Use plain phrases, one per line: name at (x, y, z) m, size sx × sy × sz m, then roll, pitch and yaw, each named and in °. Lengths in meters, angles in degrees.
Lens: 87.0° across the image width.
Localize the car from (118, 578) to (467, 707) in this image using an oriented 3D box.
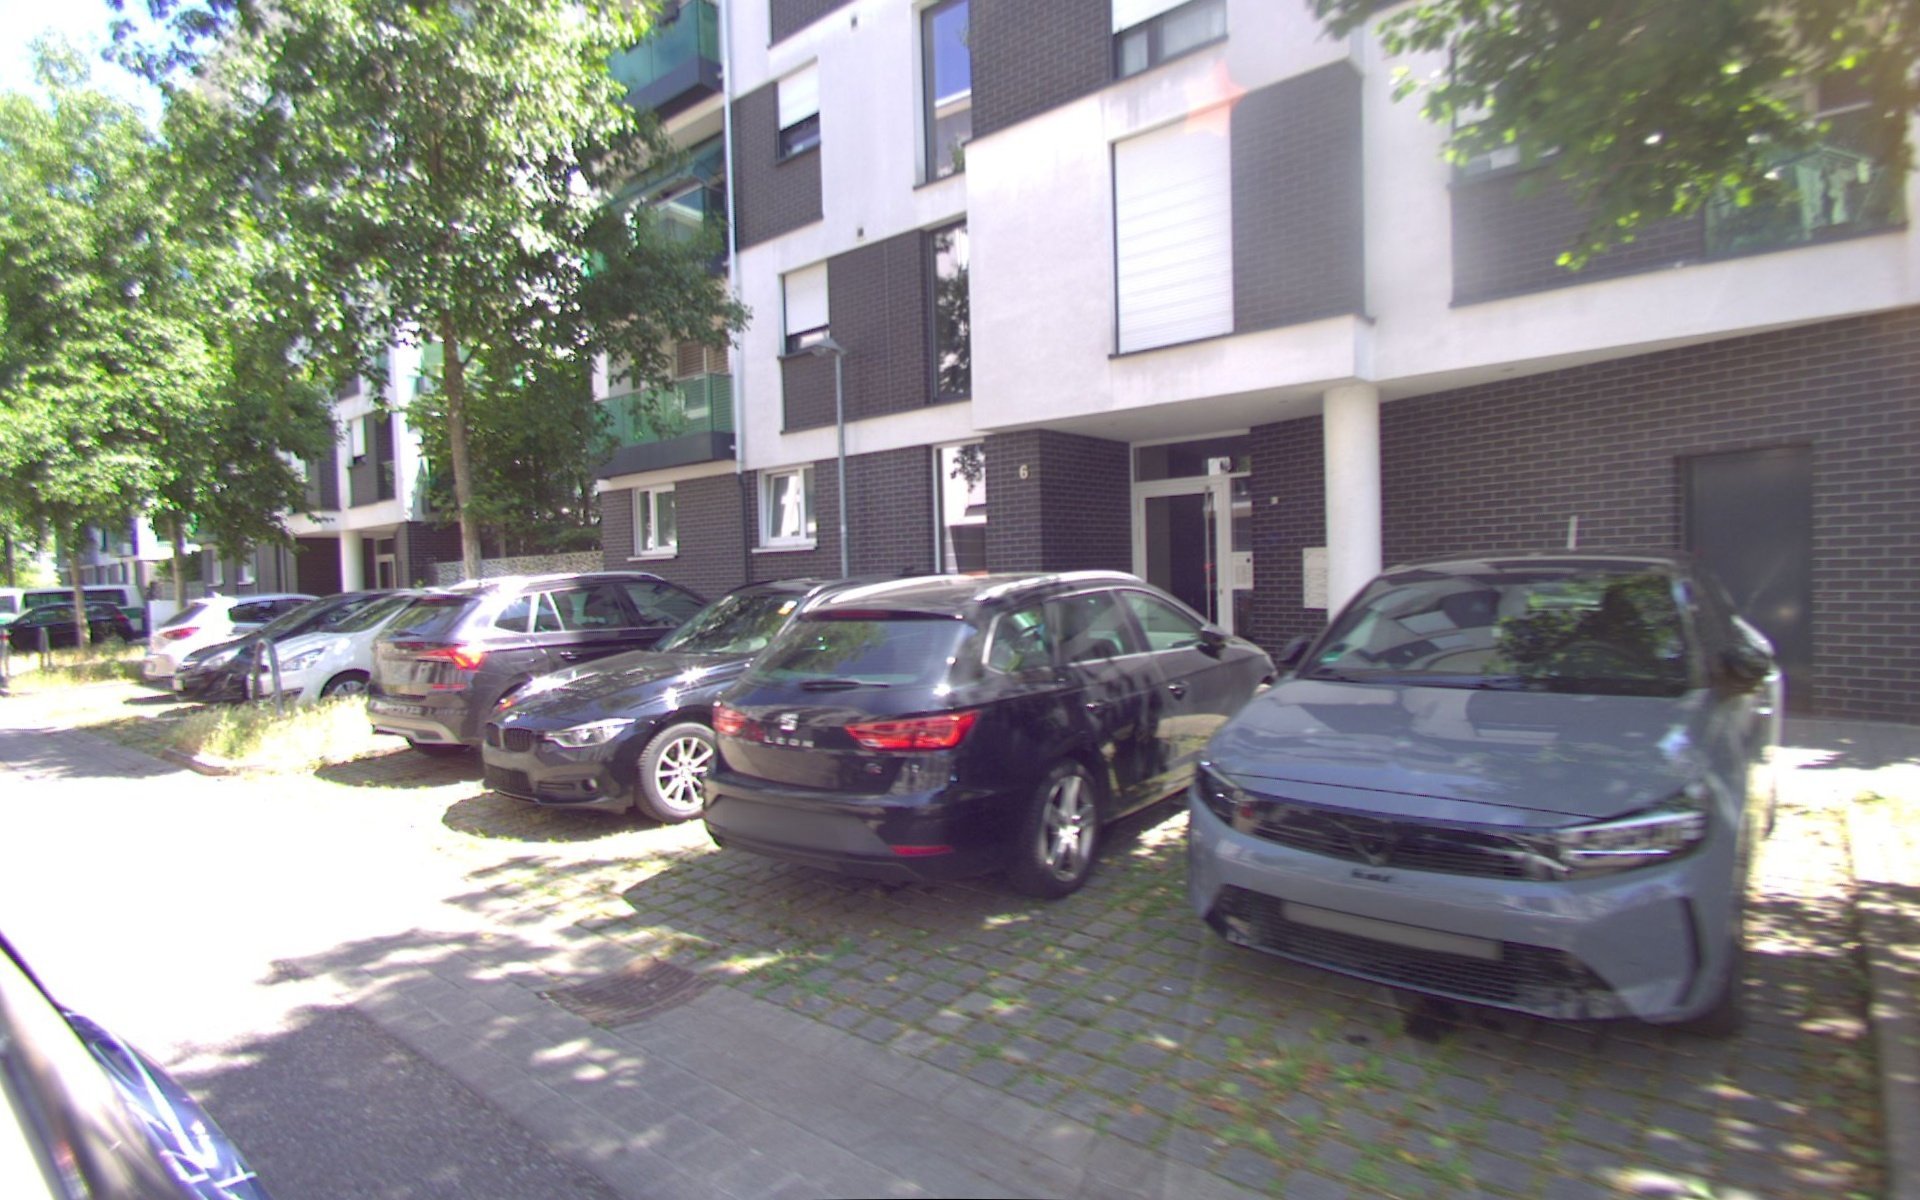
car at (-10.485, 0.560, 16.165) m, size 1.923 × 1.528 × 4.211 m, roll -1°, pitch 4°, yaw 40°

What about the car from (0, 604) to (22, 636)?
car at (-46.501, 1.094, 46.416) m, size 1.825 × 1.459 × 4.774 m, roll 0°, pitch 4°, yaw 38°

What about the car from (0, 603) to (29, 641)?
car at (-42.645, 1.073, 43.028) m, size 1.819 × 1.542 × 4.213 m, roll -1°, pitch 3°, yaw 37°

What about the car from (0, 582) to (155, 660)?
car at (-27.450, 0.617, 29.997) m, size 2.187 × 2.126 × 5.286 m, roll -1°, pitch 1°, yaw 42°

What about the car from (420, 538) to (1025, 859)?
car at (-1.508, 0.450, 7.519) m, size 1.918 × 1.663 × 3.946 m, roll -1°, pitch 3°, yaw 42°

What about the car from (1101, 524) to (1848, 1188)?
car at (2.512, 0.471, 4.346) m, size 1.896 × 1.432 × 3.947 m, roll -1°, pitch 3°, yaw 41°

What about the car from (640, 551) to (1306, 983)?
car at (0.430, 0.530, 5.717) m, size 1.772 × 1.456 × 3.939 m, roll -1°, pitch 3°, yaw 36°

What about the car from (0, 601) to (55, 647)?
car at (-37.133, 0.987, 38.365) m, size 1.949 × 1.641 × 3.939 m, roll -1°, pitch 3°, yaw 42°

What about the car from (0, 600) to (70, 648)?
car at (-35.313, 0.965, 36.441) m, size 1.962 × 1.605 × 4.520 m, roll -1°, pitch 3°, yaw 35°

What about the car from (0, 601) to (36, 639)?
car at (-44.598, 1.025, 44.931) m, size 2.039 × 1.644 × 4.982 m, roll -1°, pitch 2°, yaw 38°

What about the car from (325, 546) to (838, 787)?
car at (-3.269, 0.404, 9.350) m, size 1.932 × 1.641 × 3.948 m, roll -1°, pitch 3°, yaw 40°

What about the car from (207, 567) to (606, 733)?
car at (-6.803, 0.496, 12.770) m, size 1.883 × 1.603 × 3.947 m, roll -1°, pitch 3°, yaw 41°

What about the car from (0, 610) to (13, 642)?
car at (-48.585, 1.379, 48.038) m, size 1.925 × 1.496 × 5.051 m, roll 0°, pitch 3°, yaw 38°

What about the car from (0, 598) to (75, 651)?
car at (-33.155, 0.891, 34.914) m, size 1.850 × 1.688 × 3.644 m, roll -1°, pitch 3°, yaw 39°

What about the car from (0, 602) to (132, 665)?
car at (-25.456, 0.917, 28.027) m, size 1.676 × 1.492 × 3.588 m, roll -1°, pitch 3°, yaw 39°

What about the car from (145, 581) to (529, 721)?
car at (-8.707, 0.604, 14.480) m, size 1.791 × 1.486 × 4.274 m, roll -1°, pitch 3°, yaw 40°
